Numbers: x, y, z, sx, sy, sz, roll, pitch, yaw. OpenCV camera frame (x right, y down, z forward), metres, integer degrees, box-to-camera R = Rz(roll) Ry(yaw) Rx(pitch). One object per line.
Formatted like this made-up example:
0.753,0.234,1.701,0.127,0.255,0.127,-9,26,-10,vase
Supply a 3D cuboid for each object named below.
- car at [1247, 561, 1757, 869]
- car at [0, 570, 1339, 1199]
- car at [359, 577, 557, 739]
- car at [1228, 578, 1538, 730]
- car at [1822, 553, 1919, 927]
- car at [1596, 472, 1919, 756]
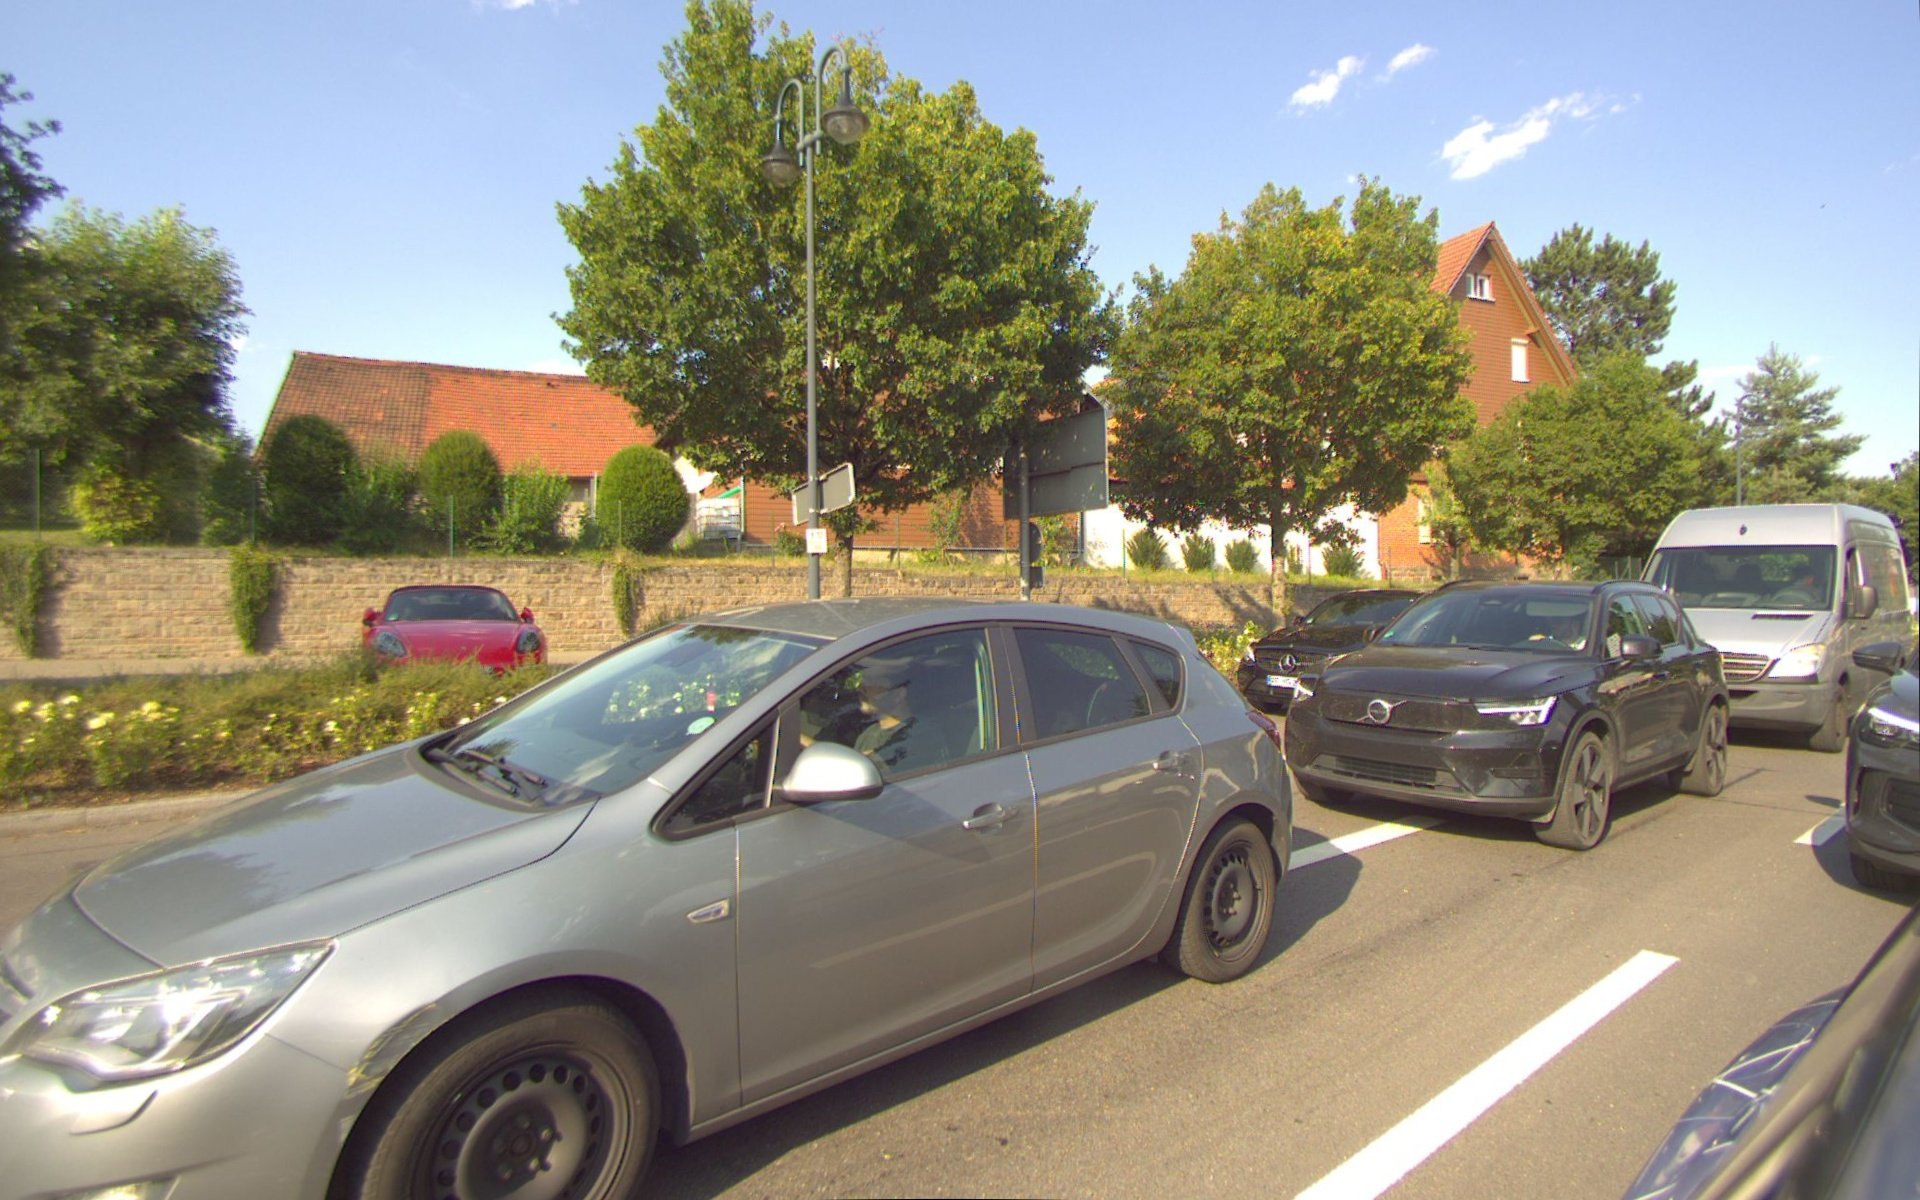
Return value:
4.138,0.574,7.427,4.242,1.629,1.844,0,2,-40,car
-0.581,0.673,3.498,4.244,1.471,1.765,0,2,-42,car
-5.920,0.534,11.689,1.743,1.510,4.156,0,0,-31,car
5.568,0.564,13.071,4.483,1.628,1.766,0,2,-39,car
6.191,0.625,5.313,4.242,1.629,1.844,0,2,-40,car
9.722,0.094,11.961,5.938,2.601,1.992,0,1,-40,car
